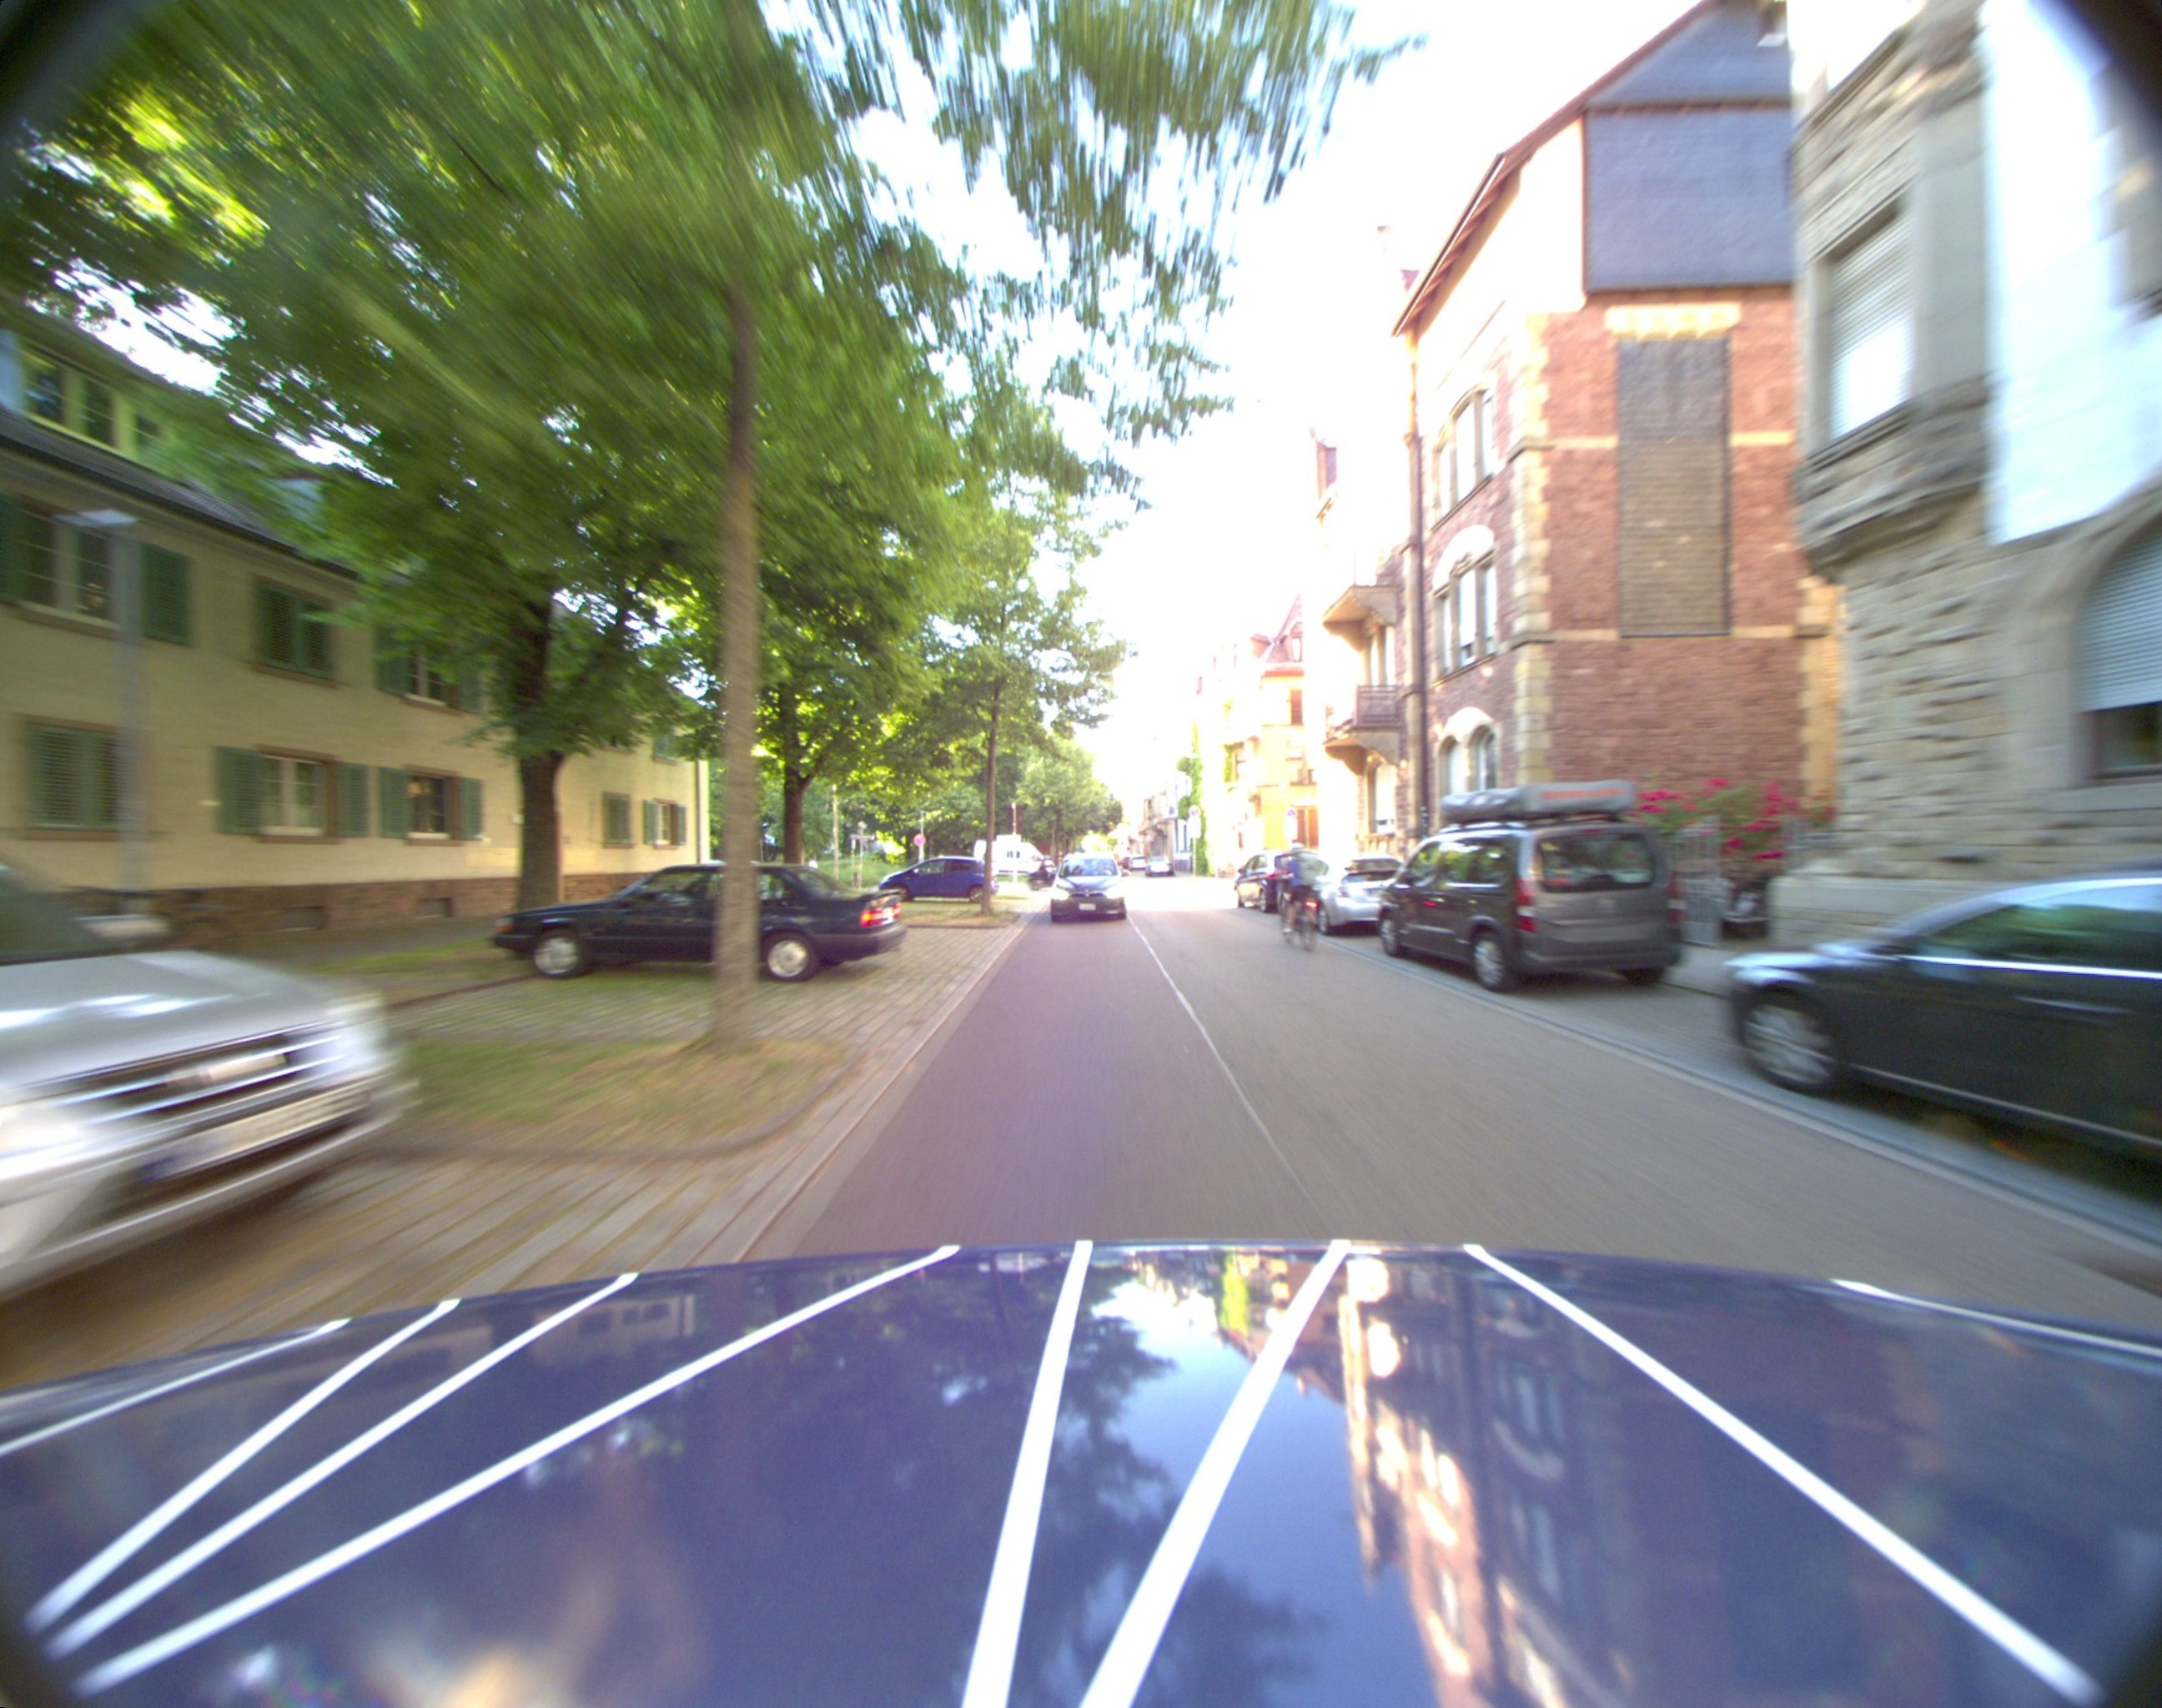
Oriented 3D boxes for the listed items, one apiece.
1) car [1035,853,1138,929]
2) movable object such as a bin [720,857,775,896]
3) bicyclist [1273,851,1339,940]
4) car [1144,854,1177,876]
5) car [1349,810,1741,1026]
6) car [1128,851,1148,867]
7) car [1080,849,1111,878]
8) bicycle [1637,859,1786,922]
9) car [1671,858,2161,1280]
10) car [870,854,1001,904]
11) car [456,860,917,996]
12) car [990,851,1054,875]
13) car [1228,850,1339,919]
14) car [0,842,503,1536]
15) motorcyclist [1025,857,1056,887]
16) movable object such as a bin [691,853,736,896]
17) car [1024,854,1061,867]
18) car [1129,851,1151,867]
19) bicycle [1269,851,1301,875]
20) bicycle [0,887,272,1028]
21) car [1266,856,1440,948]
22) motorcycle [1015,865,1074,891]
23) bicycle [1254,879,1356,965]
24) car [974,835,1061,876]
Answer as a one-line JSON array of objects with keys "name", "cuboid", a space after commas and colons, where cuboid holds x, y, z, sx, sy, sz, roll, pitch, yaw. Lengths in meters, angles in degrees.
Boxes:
[{"name": "car", "cuboid": [0.290, 0.813, 18.834, 1.888, 1.612, 4.621, -1, 0, 9]}, {"name": "movable object such as a bin", "cuboid": [-14.778, 0.987, 33.730, 1.638, 1.648, 1.592, -1, 2, 8]}, {"name": "bicyclist", "cuboid": [3.517, 0.624, 11.951, 0.667, 1.337, 1.060, 0, 0, -3]}, {"name": "car", "cuboid": [5.777, 0.773, 55.584, 1.882, 1.396, 4.925, -3, 0, 0]}, {"name": "car", "cuboid": [5.168, 0.604, 9.395, 1.974, 1.963, 4.497, -2, 0, -1]}, {"name": "car", "cuboid": [6.409, 0.522, 85.796, 1.998, 1.616, 4.143, -1, 1, 2]}, {"name": "car", "cuboid": [0.828, 0.556, 44.844, 1.648, 1.581, 4.019, -2, 0, -1]}, {"name": "bicycle", "cuboid": [11.277, 0.631, 13.615, 2.358, 1.073, 0.610, 0, 1, -7]}, {"name": "car", "cuboid": [5.105, 0.874, 3.165, 1.733, 1.565, 4.708, -1, 1, 2]}, {"name": "car", "cuboid": [-4.770, 0.803, 25.316, 3.997, 1.547, 1.999, 1, 1, -2]}, {"name": "car", "cuboid": [-4.780, 0.870, 9.796, 4.906, 1.434, 1.941, 1, 1, -1]}, {"name": "car", "cuboid": [-4.117, 0.594, 53.480, 4.297, 1.566, 1.978, -1, 1, -1]}, {"name": "car", "cuboid": [5.334, 0.753, 20.581, 1.734, 1.612, 4.258, -2, 0, -1]}, {"name": "car", "cuboid": [-4.859, 0.764, 2.403, 4.487, 1.660, 1.942, 2, 0, -1]}, {"name": "motorcyclist", "cuboid": [-1.809, 0.805, 34.315, 1.226, 1.333, 0.987, -1, 1, 7]}, {"name": "movable object such as a bin", "cuboid": [-16.360, 0.899, 33.852, 1.384, 1.817, 1.151, -1, 2, 8]}, {"name": "car", "cuboid": [-4.022, 0.713, 79.886, 3.878, 1.249, 1.785, -1, 1, -1]}, {"name": "car", "cuboid": [5.959, 0.506, 77.068, 1.867, 1.538, 3.792, -1, 1, 0]}, {"name": "bicycle", "cuboid": [10.838, 0.487, 40.437, 1.600, 1.261, 0.565, -1, 0, 10]}, {"name": "bicycle", "cuboid": [-9.367, 0.946, 7.608, 0.630, 1.156, 1.933, -1, 0, -7]}, {"name": "car", "cuboid": [5.161, 0.817, 15.119, 1.734, 1.490, 4.454, -2, 0, -1]}, {"name": "motorcycle", "cuboid": [-1.621, 1.072, 34.313, 2.516, 1.095, 0.987, -1, 1, 7]}, {"name": "bicycle", "cuboid": [3.529, 1.025, 12.281, 0.755, 1.171, 2.620, 0, 0, -3]}, {"name": "car", "cuboid": [-4.187, 0.048, 50.767, 5.628, 2.599, 2.238, -1, 2, -1]}]
